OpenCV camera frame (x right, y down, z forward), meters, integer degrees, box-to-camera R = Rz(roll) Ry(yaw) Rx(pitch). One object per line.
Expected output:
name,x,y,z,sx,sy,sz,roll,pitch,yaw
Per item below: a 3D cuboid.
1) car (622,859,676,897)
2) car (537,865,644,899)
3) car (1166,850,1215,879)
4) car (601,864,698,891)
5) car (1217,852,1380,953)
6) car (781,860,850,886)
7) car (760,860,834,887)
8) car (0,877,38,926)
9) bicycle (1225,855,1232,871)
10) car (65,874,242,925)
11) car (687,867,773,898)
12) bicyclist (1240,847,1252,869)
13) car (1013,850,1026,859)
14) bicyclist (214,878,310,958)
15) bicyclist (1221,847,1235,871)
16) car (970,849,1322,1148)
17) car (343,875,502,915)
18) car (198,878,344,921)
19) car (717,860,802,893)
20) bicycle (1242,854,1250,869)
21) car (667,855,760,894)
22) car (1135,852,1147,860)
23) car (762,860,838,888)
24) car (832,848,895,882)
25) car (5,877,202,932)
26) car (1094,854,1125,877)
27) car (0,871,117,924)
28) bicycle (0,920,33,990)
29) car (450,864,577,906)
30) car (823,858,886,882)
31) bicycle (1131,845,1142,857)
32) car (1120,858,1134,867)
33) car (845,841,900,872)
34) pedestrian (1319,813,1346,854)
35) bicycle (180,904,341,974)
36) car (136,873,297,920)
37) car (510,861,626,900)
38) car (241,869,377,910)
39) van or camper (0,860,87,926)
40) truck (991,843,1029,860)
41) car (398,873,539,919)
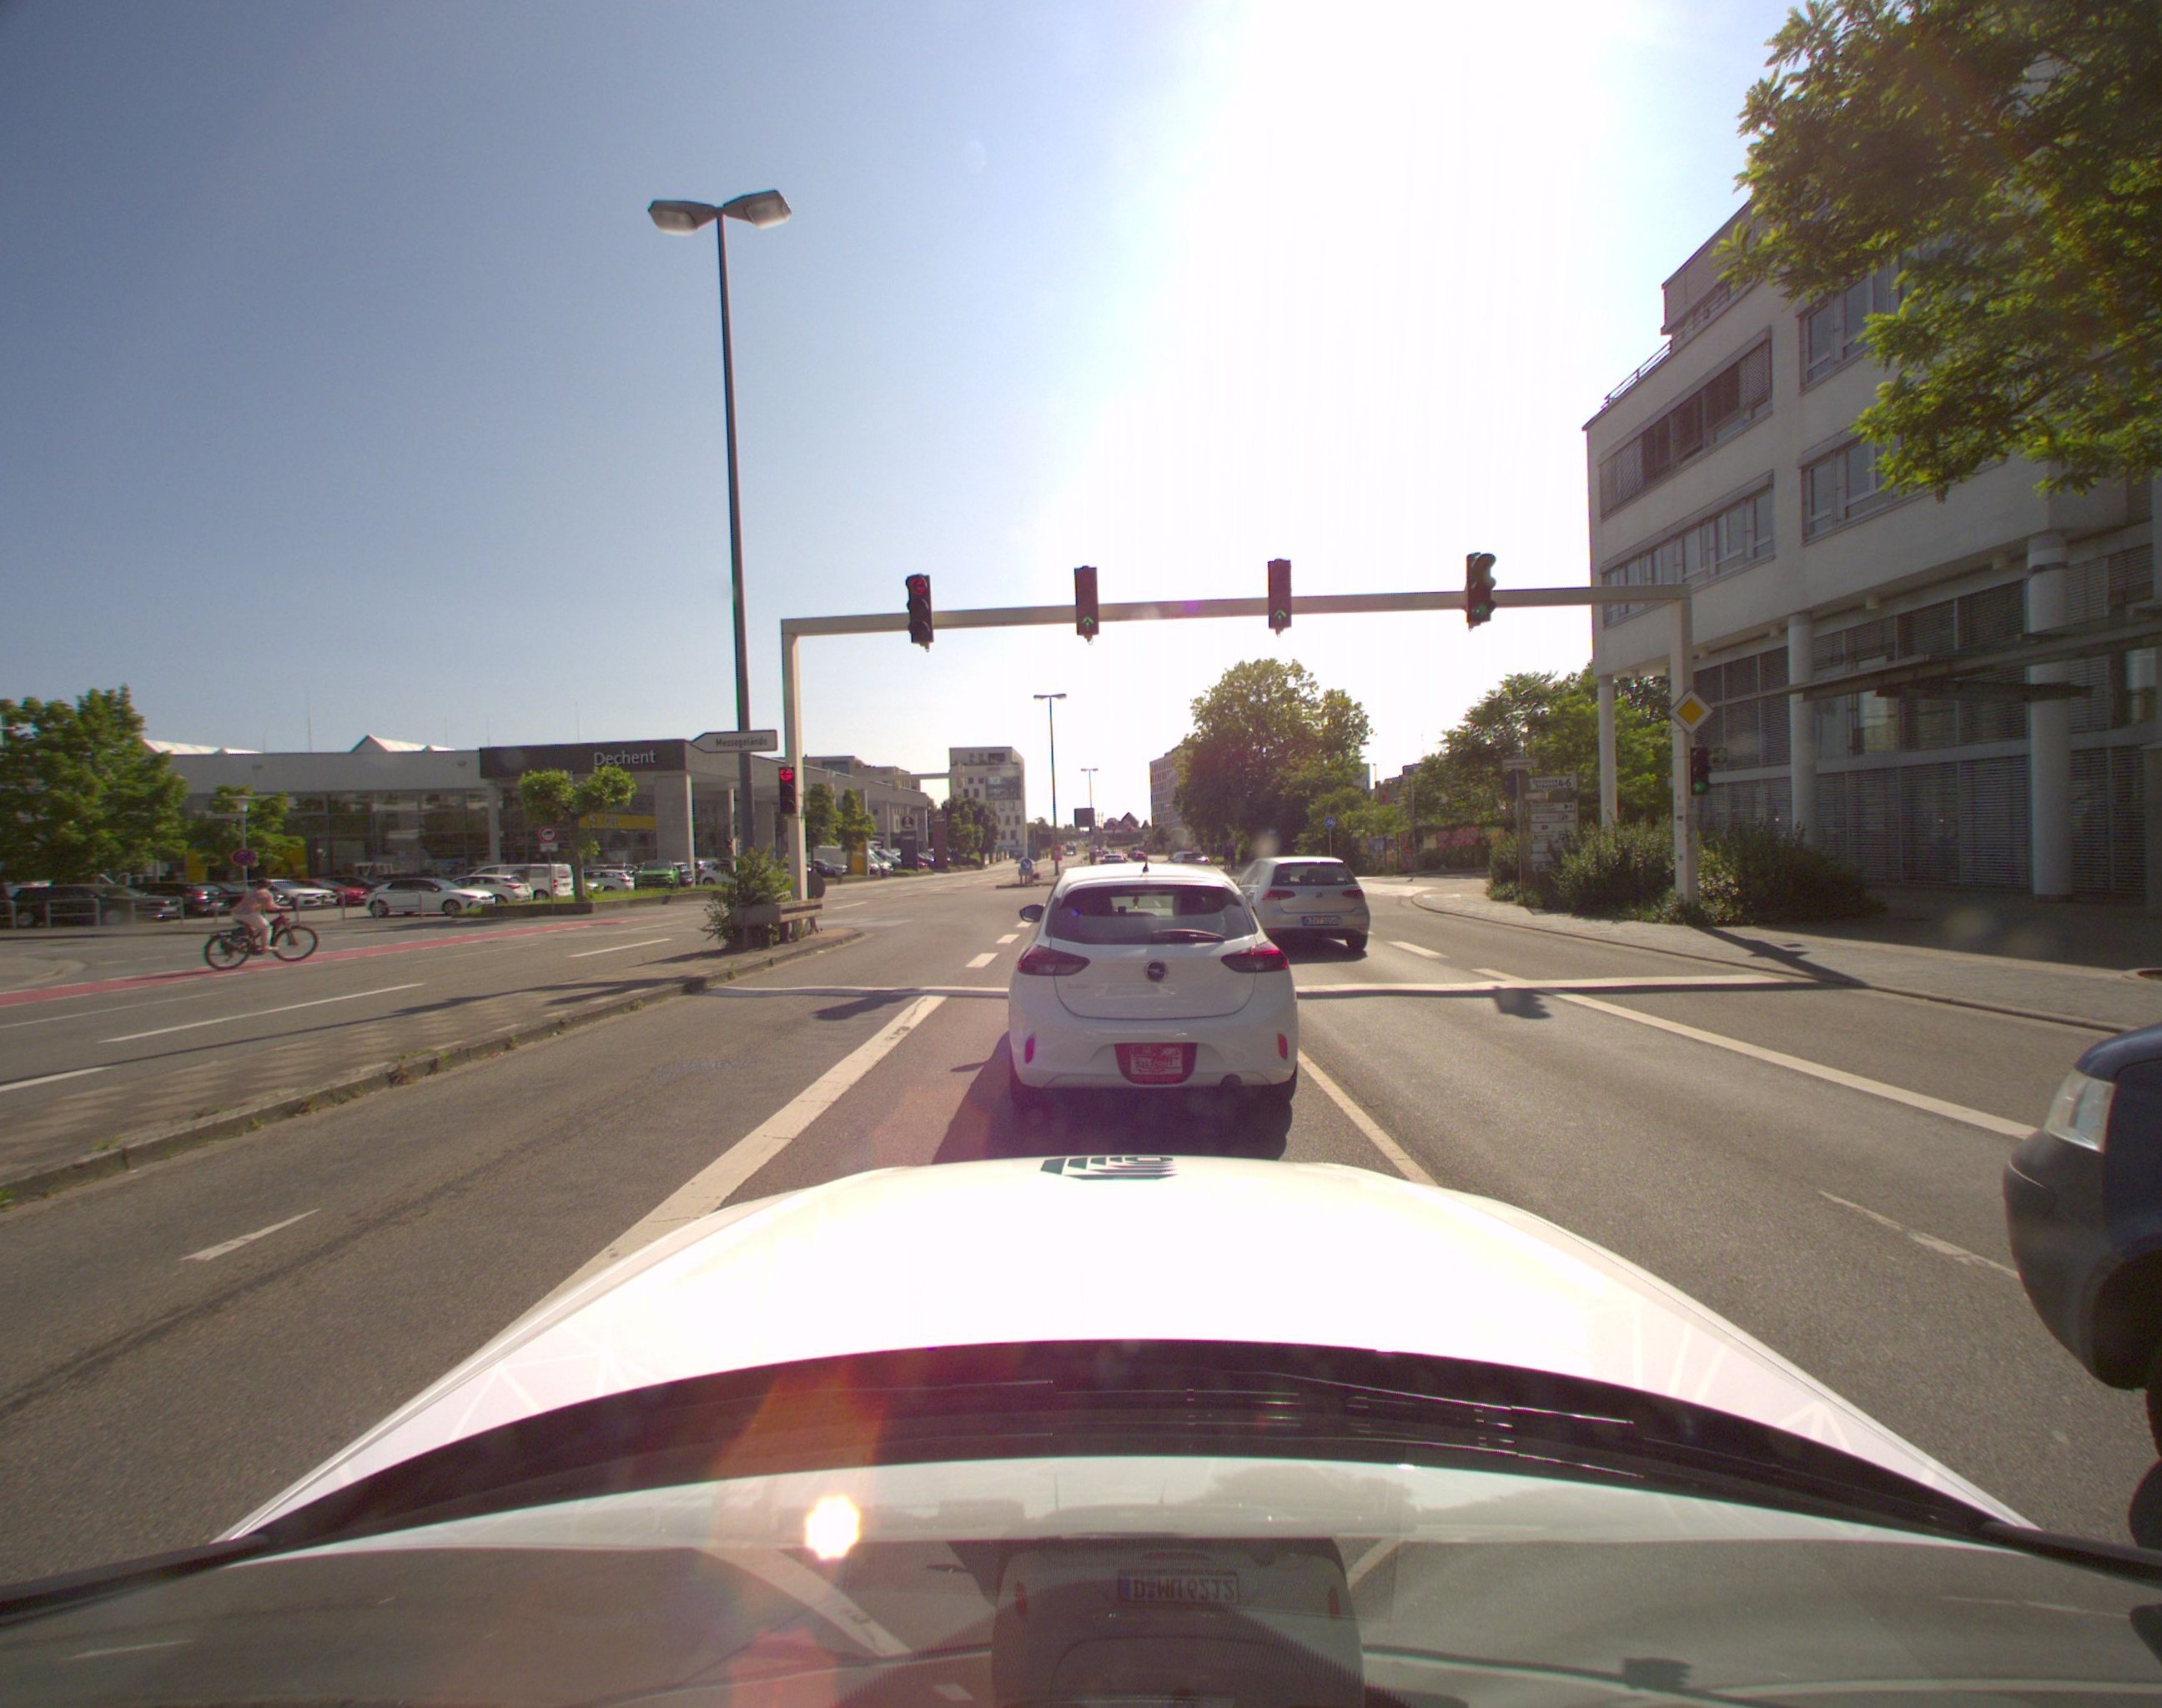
car,-21.068,1.183,39.621,1.915,1.733,3.258,-2,-1,-35
car,-25.982,1.456,43.272,4.351,1.591,1.996,-2,0,-6
car,6.339,0.573,47.694,1.989,1.551,4.428,-2,0,-3
car,-24.485,1.333,46.362,4.351,1.268,1.995,-3,-2,-6
car,3.540,0.735,14.006,1.800,1.429,4.002,-2,-1,2
car,-19.476,1.365,59.855,4.343,1.696,1.999,-2,0,-1
car,-19.721,1.337,56.620,4.343,1.696,1.999,-2,0,-1
car,-40.064,1.758,28.241,4.371,1.696,1.987,-2,0,-20
bicycle,11.377,0.654,62.652,0.371,1.216,1.154,0,0,2
car,-36.029,1.729,31.736,4.348,1.696,1.997,-2,0,-4
car,-20.012,1.620,46.581,3.981,1.599,1.996,-2,0,-5
bicyclist,12.555,0.315,62.024,0.687,1.643,0.775,-2,0,-6
car,-10.684,0.108,142.514,1.799,1.386,4.002,0,-1,2
bicyclist,-15.960,1.231,15.900,0.763,1.460,1.029,-2,0,8
bicyclist,11.323,0.391,62.658,0.875,1.772,0.864,-2,0,2
car,0.402,0.748,6.217,1.772,1.494,4.002,-2,0,2
car,-25.396,1.556,31.547,4.348,1.299,1.997,-2,0,-4
car,-36.464,2.018,36.758,4.348,1.696,1.997,-2,0,-4
car,-19.368,1.334,49.240,4.284,1.765,1.999,-2,0,-1
bicycle,12.576,0.558,62.017,0.372,1.147,1.034,0,-1,0
car,-19.080,1.058,42.432,3.859,1.837,1.999,-2,0,-1
car,9.885,0.334,134.798,1.799,1.386,4.002,0,-1,2
car,-18.724,1.310,54.363,4.343,1.696,1.999,-2,0,-1
car,-18.145,0.888,68.006,4.468,2.684,2.135,-2,0,10
car,-34.929,1.778,29.216,4.348,1.696,1.997,-2,0,-4
car,1.901,0.772,55.392,1.987,1.447,4.370,-1,0,0
car,-43.007,1.779,33.474,3.984,2.013,1.995,-2,0,-7
bicycle,-18.426,1.711,12.879,0.764,1.116,2.165,-2,0,6
car,-26.338,1.403,37.916,4.352,1.696,1.995,-2,0,-7
car,-18.191,1.288,65.555,4.339,1.696,2.001,-2,0,2
bicycle,10.562,-0.591,155.123,1.986,2.157,4.002,-2,0,2
car,7.025,1.357,124.732,1.987,1.331,3.999,0,-1,0
car,-18.743,0.215,73.344,4.333,2.601,2.004,-2,0,7
pedestrian,12.568,-1.022,40.754,1.023,2.013,1.039,-2,0,1
bicycle,-15.965,1.623,15.949,0.763,1.116,2.167,-2,0,8
car,-35.968,1.758,34.002,4.348,1.696,1.997,-2,0,-4
car,-25.306,1.302,40.332,4.352,1.696,1.995,-2,0,-7
car,-36.941,1.683,39.098,4.352,1.696,1.996,-2,0,-7
van or camper,-41.803,1.532,31.109,4.711,2.400,1.995,-2,0,-8
truck,-17.298,-0.523,198.642,9.056,3.834,3.073,-2,0,-8
car,-26.049,1.742,34.750,4.348,1.696,1.997,-2,0,-4
